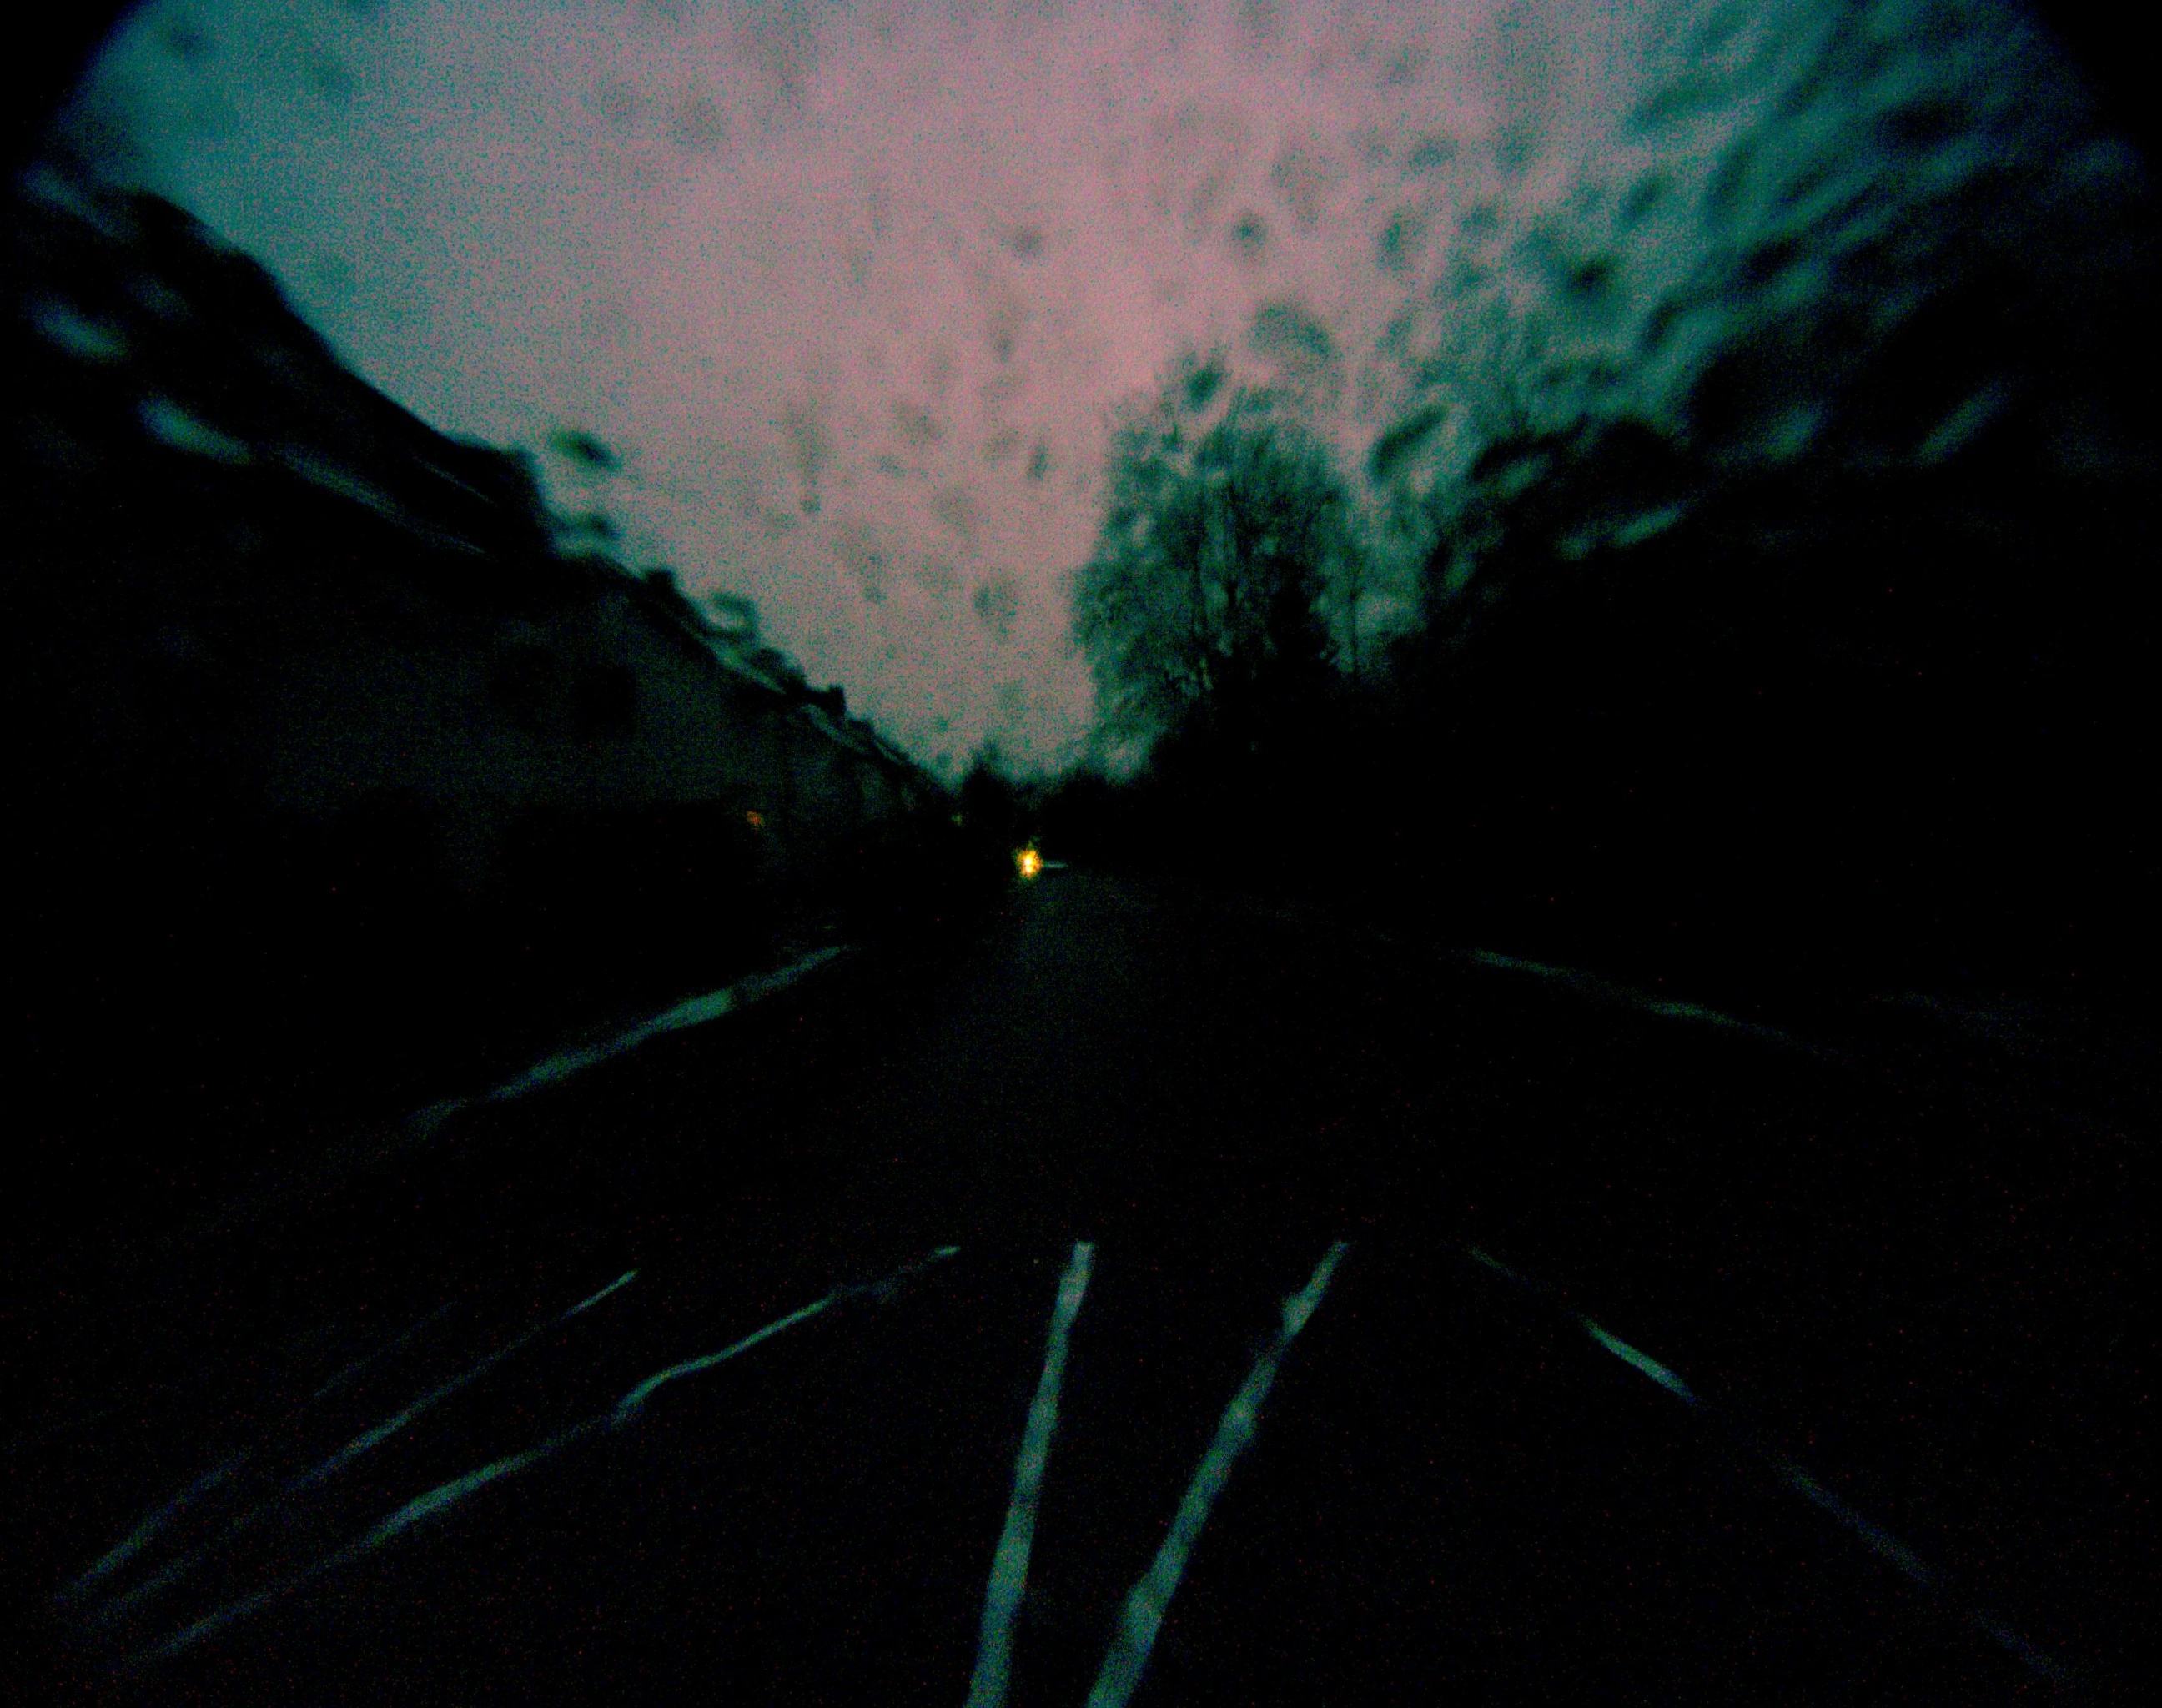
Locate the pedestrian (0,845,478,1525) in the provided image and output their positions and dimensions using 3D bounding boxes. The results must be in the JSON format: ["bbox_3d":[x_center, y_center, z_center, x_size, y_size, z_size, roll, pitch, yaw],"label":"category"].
[{"bbox_3d":[-2.631,0.809,2.322,0.745,1.645,0.970,-2,1,-1],"label":"pedestrian"}]

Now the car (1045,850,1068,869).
[{"bbox_3d":[-2.162,0.419,66.566,1.709,1.498,4.022,-3,1,-6],"label":"car"}]
